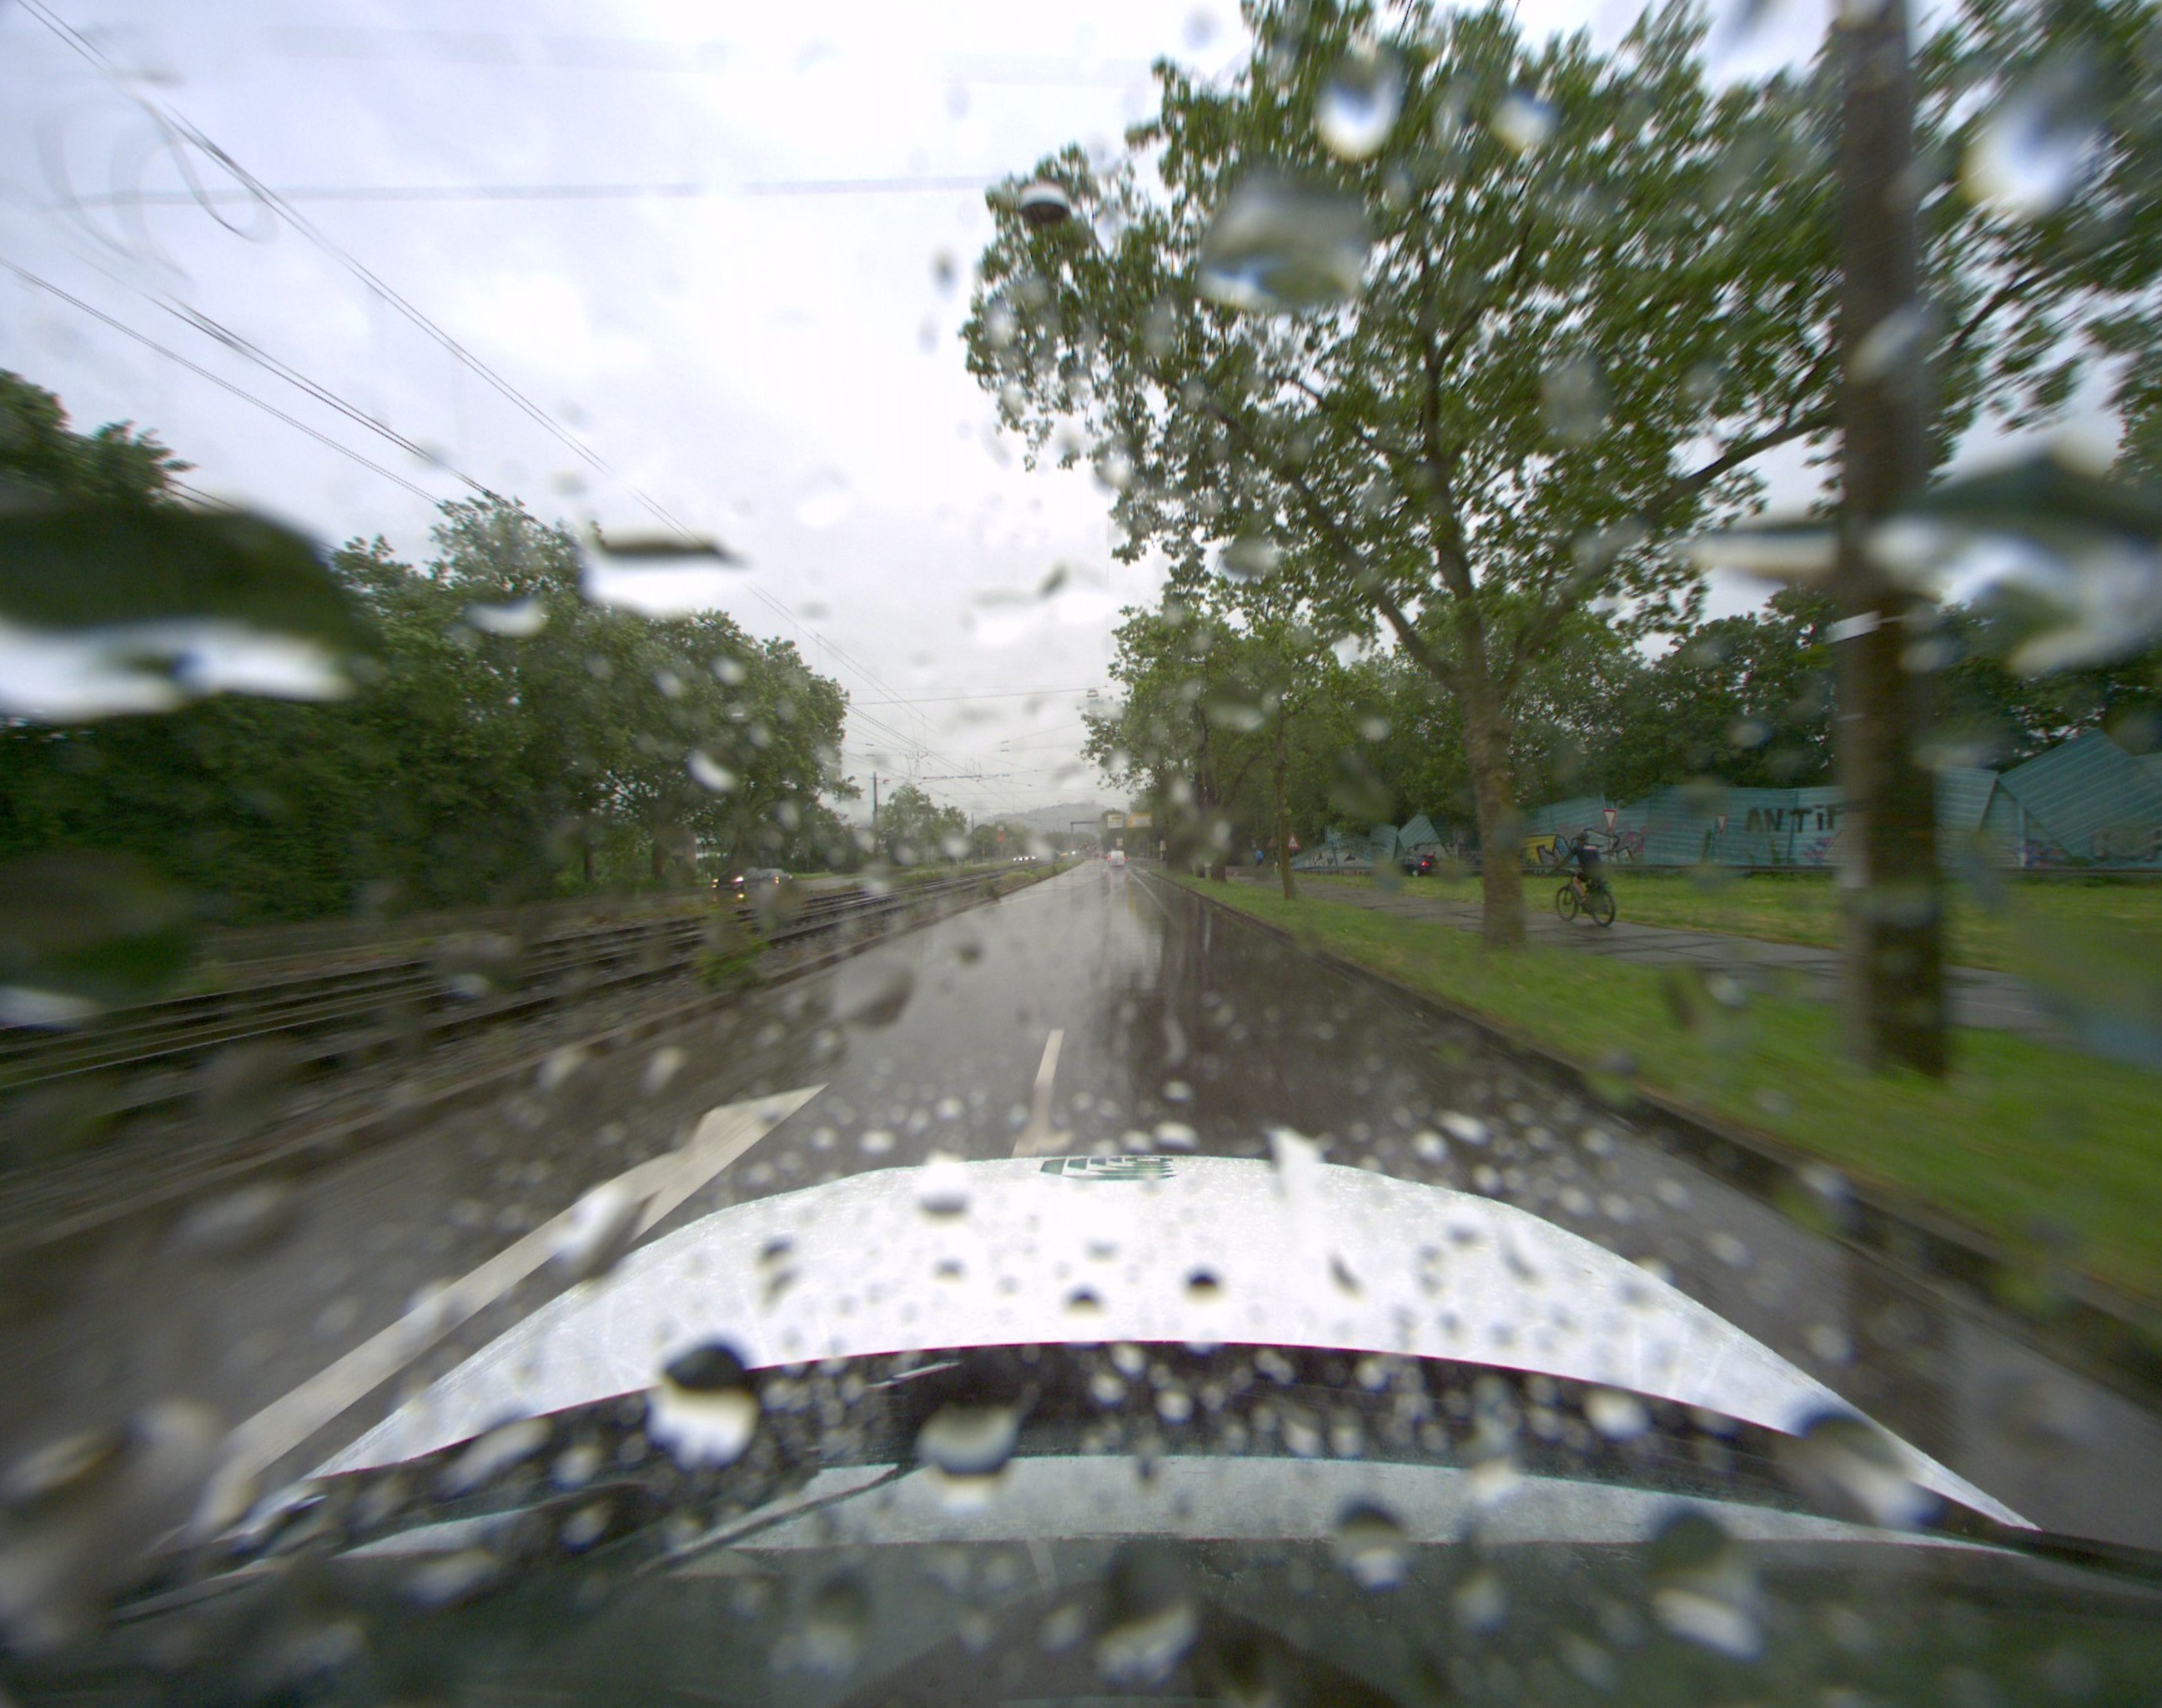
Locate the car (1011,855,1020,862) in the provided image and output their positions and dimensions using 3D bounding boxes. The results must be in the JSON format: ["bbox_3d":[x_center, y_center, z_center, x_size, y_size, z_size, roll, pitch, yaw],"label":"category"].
[{"bbox_3d":[-16.150,1.114,200.030,1.938,1.686,4.777,-1,0,-2],"label":"car"}]

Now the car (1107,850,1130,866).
[{"bbox_3d":[3.666,0.363,80.310,2.070,1.420,4.001,-2,0,1],"label":"car"}]

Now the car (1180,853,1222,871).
[{"bbox_3d":[10.814,0.699,73.515,1.954,1.536,4.439,-1,0,-18],"label":"car"}]

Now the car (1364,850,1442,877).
[{"bbox_3d":[20.024,0.588,50.812,1.872,1.536,4.480,-1,0,-24],"label":"car"}]

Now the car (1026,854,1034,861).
[{"bbox_3d":[-12.463,0.957,199.928,1.938,1.616,4.984,-1,0,-2],"label":"car"}]

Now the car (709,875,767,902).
[{"bbox_3d":[-19.988,1.964,47.585,1.677,1.406,3.939,-1,0,0],"label":"car"}]
